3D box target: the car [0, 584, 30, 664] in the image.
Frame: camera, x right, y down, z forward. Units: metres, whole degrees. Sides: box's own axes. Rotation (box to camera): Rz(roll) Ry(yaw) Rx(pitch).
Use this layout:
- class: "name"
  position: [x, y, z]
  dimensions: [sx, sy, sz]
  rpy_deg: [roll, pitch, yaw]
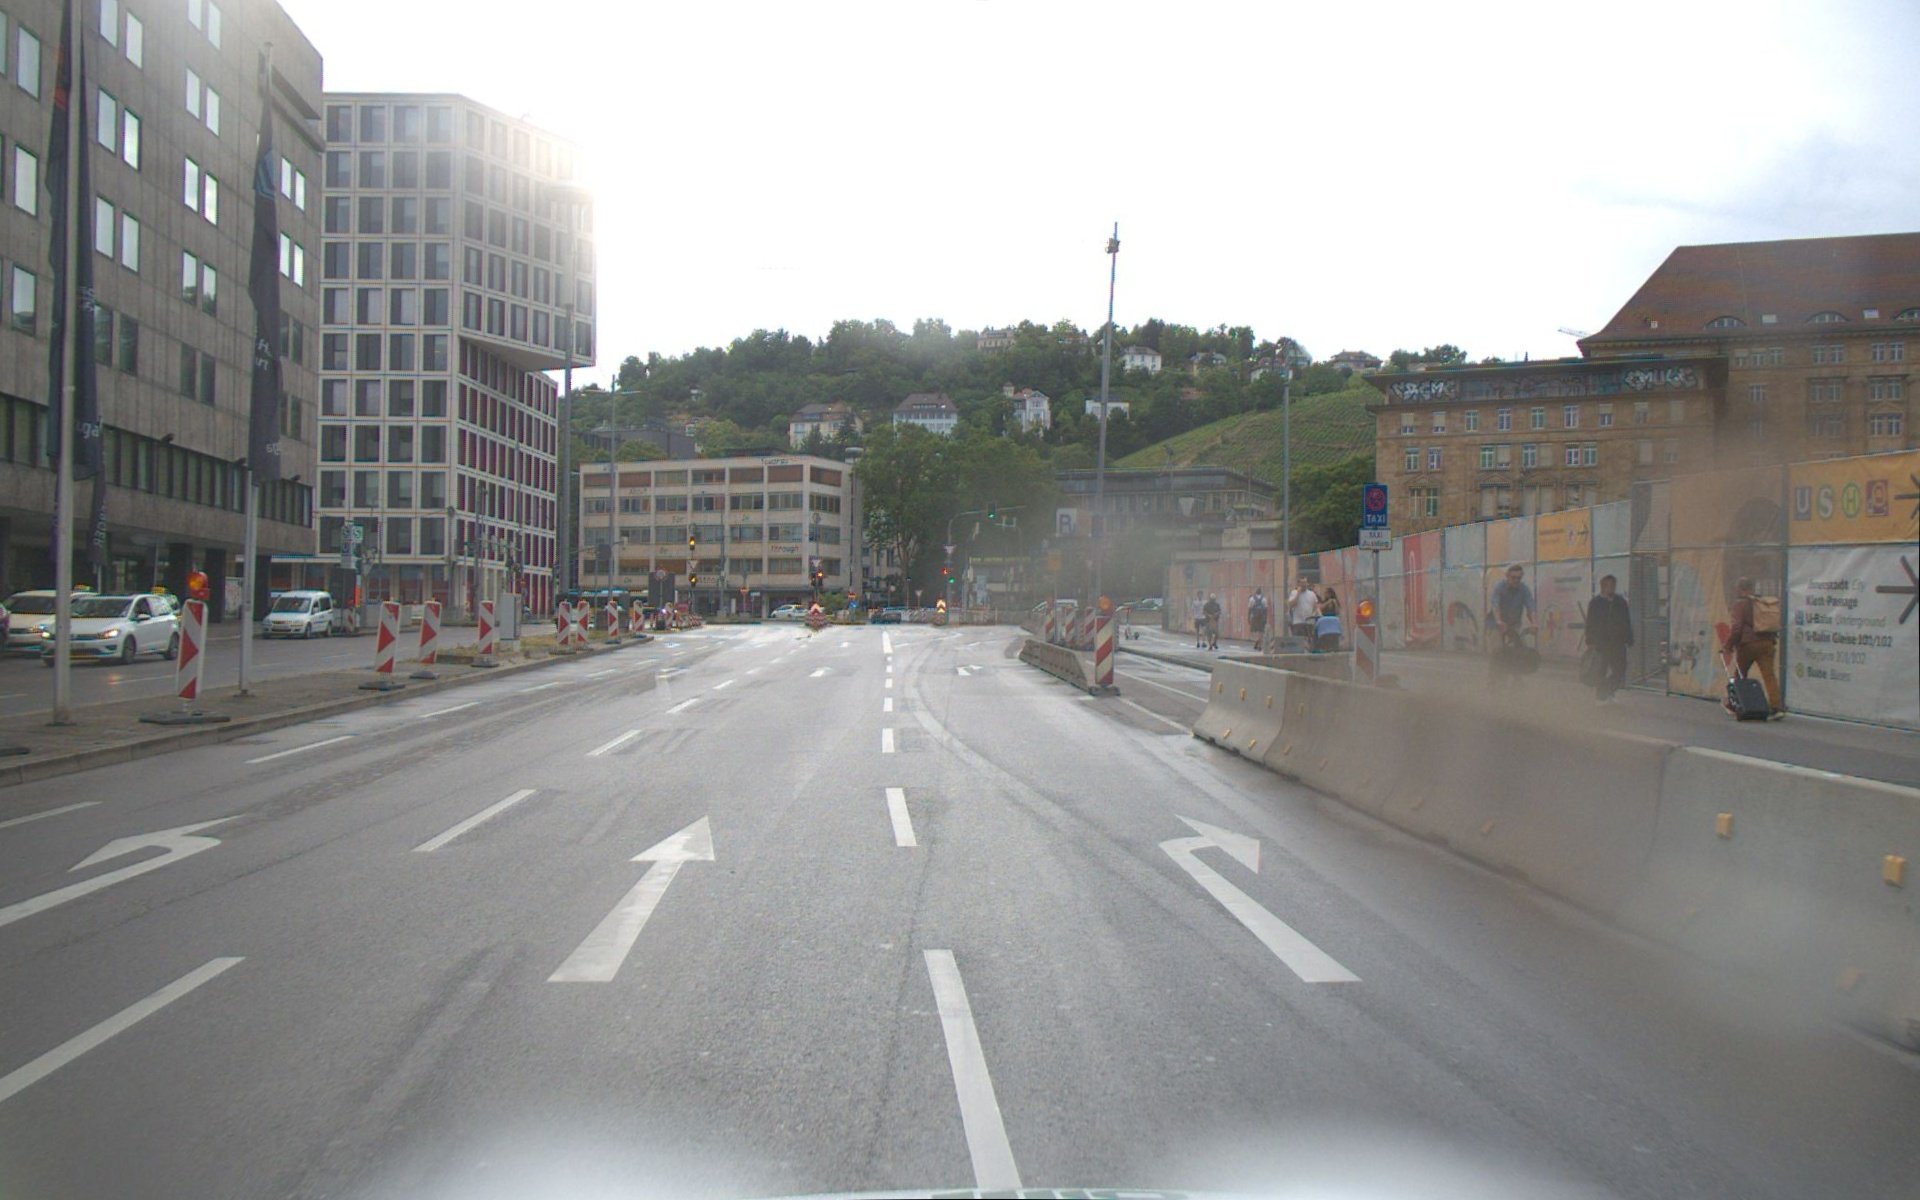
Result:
- class: "car"
  position: [-22.574, 0.532, 36.351]
  dimensions: [1.864, 1.799, 4.643]
  rpy_deg: [0, 0, -3]

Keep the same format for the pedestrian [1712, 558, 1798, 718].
- class: "pedestrian"
  position: [9.745, 0.463, 20.291]
  dimensions: [0.751, 1.928, 0.654]
  rpy_deg: [0, -1, -1]

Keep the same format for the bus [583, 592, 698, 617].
- class: "bus"
  position: [-36.132, 0.516, 186.671]
  dimensions: [13.659, 2.799, 3.208]
  rpy_deg: [0, 0, 27]

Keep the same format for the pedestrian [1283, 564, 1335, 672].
- class: "pedestrian"
  position: [6.707, 0.345, 31.820]
  dimensions: [0.786, 2.052, 0.972]
  rpy_deg: [0, 0, 0]

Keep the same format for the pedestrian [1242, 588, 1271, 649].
- class: "pedestrian"
  position: [9.232, 0.572, 51.514]
  dimensions: [0.689, 1.899, 0.990]
  rpy_deg: [0, 0, -1]

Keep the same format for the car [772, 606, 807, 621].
- class: "car"
  position: [-17.864, 1.370, 173.357]
  dimensions: [1.721, 1.518, 4.016]
  rpy_deg: [0, 0, -41]

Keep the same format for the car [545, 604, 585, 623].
- class: "car"
  position: [-39.043, 1.295, 163.316]
  dimensions: [3.922, 1.847, 1.798]
  rpy_deg: [0, 0, 38]

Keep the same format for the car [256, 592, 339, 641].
- class: "car"
  position: [-25.153, 0.614, 62.949]
  dimensions: [1.740, 1.793, 4.366]
  rpy_deg: [0, 0, -6]

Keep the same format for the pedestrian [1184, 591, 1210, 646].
- class: "pedestrian"
  position: [7.682, 0.585, 53.669]
  dimensions: [0.670, 1.771, 0.907]
  rpy_deg: [0, 0, -3]

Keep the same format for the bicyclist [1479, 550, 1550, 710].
- class: "bicyclist"
  position: [7.191, 0.383, 21.463]
  dimensions: [0.712, 2.049, 0.599]
  rpy_deg: [0, -1, -1]

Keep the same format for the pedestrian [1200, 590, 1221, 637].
- class: "pedestrian"
  position: [10.063, 0.538, 66.501]
  dimensions: [0.705, 1.899, 0.709]
  rpy_deg: [0, 0, -4]

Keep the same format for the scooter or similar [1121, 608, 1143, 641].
- class: "scooter or similar"
  position: [6.451, 0.902, 62.041]
  dimensions: [0.459, 1.204, 1.411]
  rpy_deg: [0, 0, -11]

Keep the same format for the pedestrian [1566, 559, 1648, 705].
- class: "pedestrian"
  position: [8.689, 0.423, 22.235]
  dimensions: [0.831, 1.928, 0.662]
  rpy_deg: [0, -1, -1]

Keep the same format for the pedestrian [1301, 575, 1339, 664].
- class: "pedestrian"
  position: [7.875, 0.419, 36.208]
  dimensions: [0.669, 1.922, 0.693]
  rpy_deg: [0, 0, 0]

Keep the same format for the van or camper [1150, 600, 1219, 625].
- class: "van or camper"
  position: [17.551, 0.945, 129.270]
  dimensions: [5.092, 1.927, 1.886]
  rpy_deg: [0, 0, -4]

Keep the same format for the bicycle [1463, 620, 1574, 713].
- class: "bicycle"
  position: [7.178, 0.828, 21.370]
  dimensions: [0.750, 1.131, 1.981]
  rpy_deg: [0, 0, -1]

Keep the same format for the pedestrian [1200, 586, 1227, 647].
- class: "pedestrian"
  position: [7.412, 0.488, 48.444]
  dimensions: [0.630, 1.771, 0.837]
  rpy_deg: [0, 0, -3]

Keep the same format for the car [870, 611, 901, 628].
- class: "car"
  position: [-6.890, 1.828, 152.867]
  dimensions: [1.704, 1.518, 4.054]
  rpy_deg: [0, 0, -20]

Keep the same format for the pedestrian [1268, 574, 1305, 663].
- class: "pedestrian"
  position: [7.127, 0.400, 36.173]
  dimensions: [0.669, 1.922, 0.693]
  rpy_deg: [0, 0, 0]

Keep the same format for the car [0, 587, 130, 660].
- class: "car"
  position: [-22.898, 0.579, 41.885]
  dimensions: [1.781, 1.728, 4.572]
  rpy_deg: [0, 0, -5]

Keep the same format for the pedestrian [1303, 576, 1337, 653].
- class: "pedestrian"
  position: [9.038, 0.361, 41.556]
  dimensions: [0.670, 1.922, 0.693]
  rpy_deg: [0, 0, -4]

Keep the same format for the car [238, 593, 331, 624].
- class: "car"
  position: [-42.308, 0.509, 103.670]
  dimensions: [4.961, 1.938, 2.089]
  rpy_deg: [0, 0, 4]

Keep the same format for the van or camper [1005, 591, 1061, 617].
- class: "van or camper"
  position: [5.668, 0.290, 128.552]
  dimensions: [4.158, 2.013, 1.850]
  rpy_deg: [0, 0, -4]

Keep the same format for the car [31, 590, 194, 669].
- class: "car"
  position: [-19.259, 0.650, 37.810]
  dimensions: [1.789, 1.698, 4.494]
  rpy_deg: [0, 0, -6]

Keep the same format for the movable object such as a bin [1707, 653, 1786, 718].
- class: "movable object such as a bin"
  position: [9.466, 1.021, 19.930]
  dimensions: [0.585, 0.747, 0.778]
  rpy_deg: [0, 0, -1]

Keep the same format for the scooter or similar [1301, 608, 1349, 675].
- class: "scooter or similar"
  position: [6.786, 0.771, 30.790]
  dimensions: [0.651, 1.219, 1.044]
  rpy_deg: [0, 0, 0]
